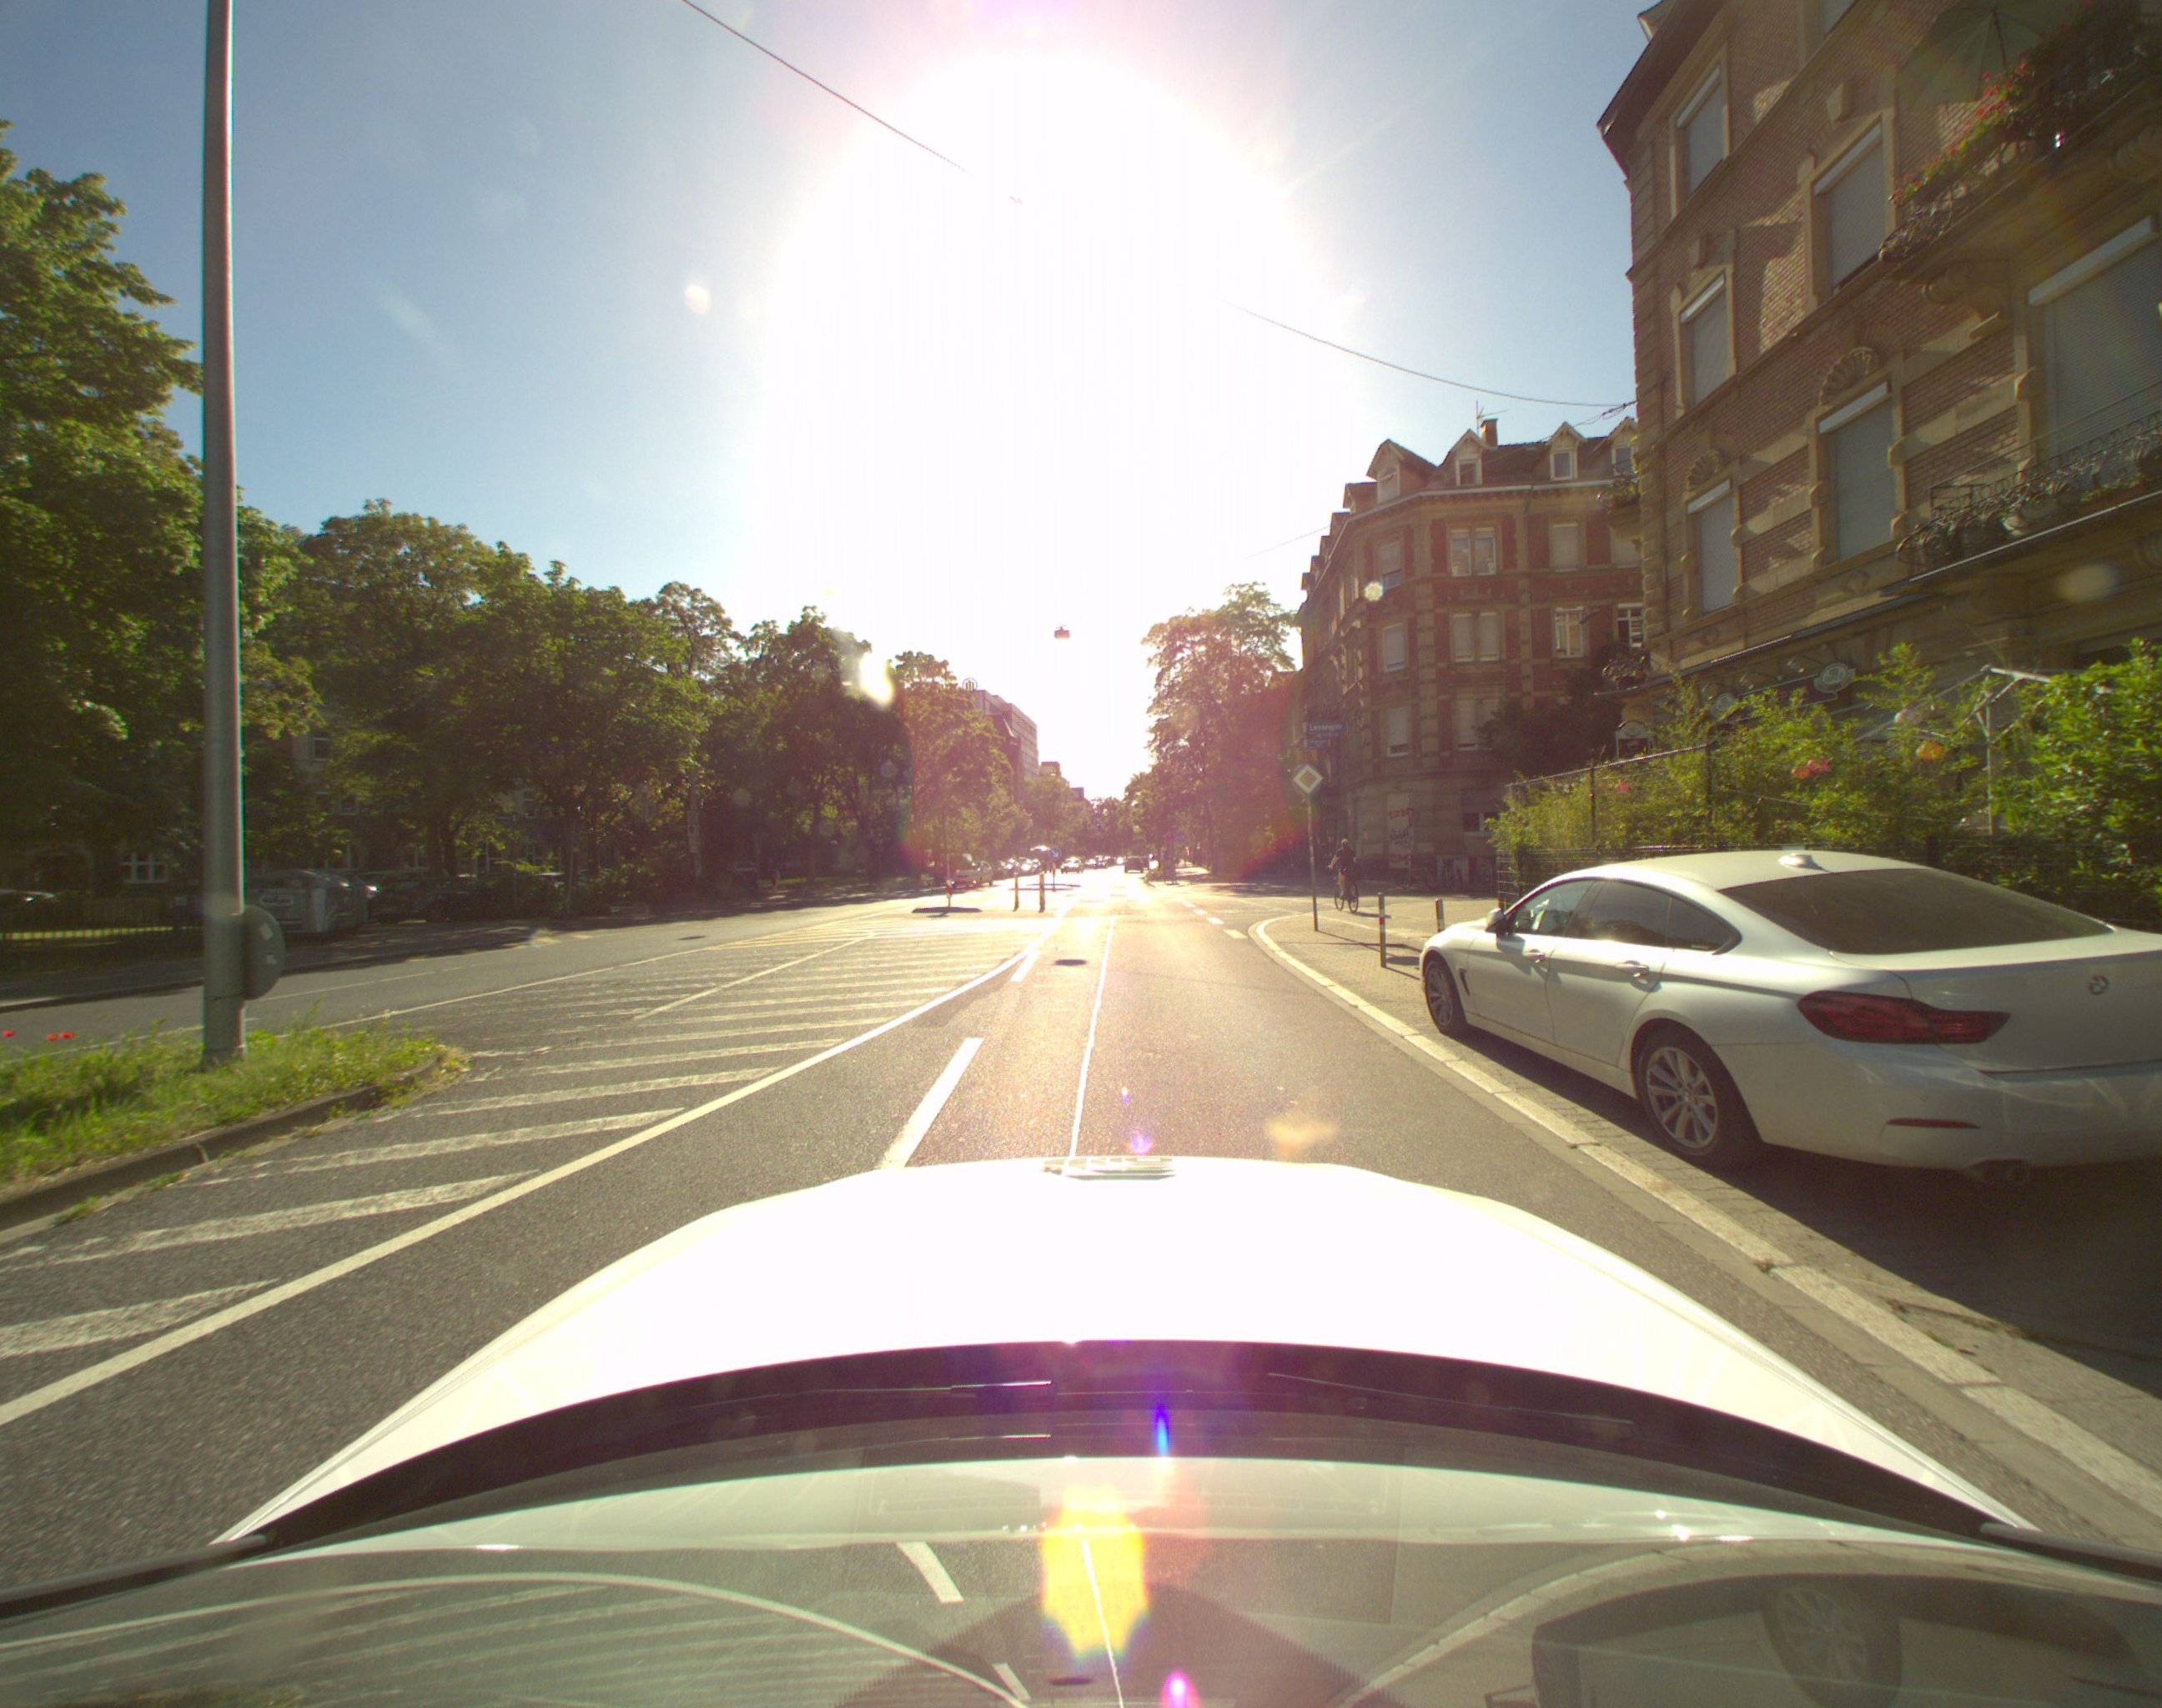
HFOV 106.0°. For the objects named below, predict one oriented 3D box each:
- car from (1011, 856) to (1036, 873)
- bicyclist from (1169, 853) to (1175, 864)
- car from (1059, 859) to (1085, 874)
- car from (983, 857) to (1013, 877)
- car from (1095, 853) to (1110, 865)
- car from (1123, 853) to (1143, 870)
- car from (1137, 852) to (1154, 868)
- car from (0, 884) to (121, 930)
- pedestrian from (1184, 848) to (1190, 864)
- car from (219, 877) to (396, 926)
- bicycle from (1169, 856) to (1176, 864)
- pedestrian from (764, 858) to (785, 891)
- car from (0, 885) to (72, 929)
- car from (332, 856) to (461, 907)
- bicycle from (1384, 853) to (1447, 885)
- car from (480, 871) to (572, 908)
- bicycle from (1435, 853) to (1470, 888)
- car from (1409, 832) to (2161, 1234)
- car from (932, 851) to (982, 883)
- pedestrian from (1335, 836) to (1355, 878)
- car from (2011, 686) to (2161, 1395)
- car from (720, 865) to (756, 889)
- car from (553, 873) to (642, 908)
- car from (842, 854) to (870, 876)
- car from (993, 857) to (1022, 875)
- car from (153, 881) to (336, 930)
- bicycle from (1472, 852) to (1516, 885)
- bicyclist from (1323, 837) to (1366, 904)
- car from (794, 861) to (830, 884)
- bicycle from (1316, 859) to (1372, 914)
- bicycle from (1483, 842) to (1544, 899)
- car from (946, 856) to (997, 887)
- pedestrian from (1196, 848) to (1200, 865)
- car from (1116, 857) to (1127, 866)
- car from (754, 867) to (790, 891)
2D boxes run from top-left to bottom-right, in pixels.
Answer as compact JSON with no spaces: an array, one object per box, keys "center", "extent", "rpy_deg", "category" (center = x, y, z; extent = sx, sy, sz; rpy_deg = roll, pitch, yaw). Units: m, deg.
[{"center":[-5.248,0.950,74.743],"extent":[1.514,1.432,3.345],"rpy_deg":[-2,0,9],"category":"car"},{"center":[11.175,0.526,99.873],"extent":[0.677,1.327,0.636],"rpy_deg":[-1,-3,2],"category":"bicyclist"},{"center":[-0.827,1.229,79.271],"extent":[1.774,1.460,4.426],"rpy_deg":[-1,-1,9],"category":"car"},{"center":[-6.591,1.075,64.933],"extent":[1.514,1.433,3.344],"rpy_deg":[-1,-3,9],"category":"car"},{"center":[2.993,0.706,112.647],"extent":[1.629,1.519,4.040],"rpy_deg":[-2,0,9],"category":"car"},{"center":[4.953,0.687,78.016],"extent":[1.887,1.519,4.003],"rpy_deg":[1,1,2],"category":"car"},{"center":[7.637,0.694,96.379],"extent":[1.810,1.740,4.007],"rpy_deg":[-1,0,6],"category":"car"},{"center":[-35.561,1.773,27.310],"extent":[1.838,1.491,4.001],"rpy_deg":[-1,-3,2],"category":"car"},{"center":[13.364,0.204,102.969],"extent":[0.612,2.013,0.681],"rpy_deg":[-2,0,2],"category":"pedestrian"},{"center":[-25.249,1.542,26.818],"extent":[1.838,1.491,4.001],"rpy_deg":[-1,-3,2],"category":"car"},{"center":[11.180,0.711,99.731],"extent":[0.672,0.938,2.282],"rpy_deg":[-2,-2,2],"category":"bicycle"},{"center":[-15.557,1.022,41.392],"extent":[0.662,1.626,0.720],"rpy_deg":[-2,0,35],"category":"pedestrian"},{"center":[-37.566,1.801,27.514],"extent":[1.838,1.491,4.001],"rpy_deg":[-1,-3,2],"category":"car"},{"center":[-33.387,1.408,39.965],"extent":[1.838,2.324,4.986],"rpy_deg":[0,-3,2],"category":"car"},{"center":[11.967,0.546,29.179],"extent":[0.699,1.095,1.947],"rpy_deg":[-1,0,-42],"category":"bicycle"},{"center":[-28.222,1.762,41.603],"extent":[1.839,1.653,4.002],"rpy_deg":[-1,1,2],"category":"car"},{"center":[13.306,0.583,29.200],"extent":[0.575,1.094,1.976],"rpy_deg":[0,3,8],"category":"bicycle"},{"center":[3.717,0.651,5.112],"extent":[1.703,1.425,4.208],"rpy_deg":[-3,0,2],"category":"car"},{"center":[-8.114,0.838,53.810],"extent":[2.189,1.929,4.867],"rpy_deg":[-2,0,4],"category":"car"},{"center":[11.601,0.138,35.808],"extent":[0.652,1.816,0.752],"rpy_deg":[-1,-3,6],"category":"pedestrian"},{"center":[3.570,0.474,0.210],"extent":[1.811,1.844,4.368],"rpy_deg":[-2,0,4],"category":"car"},{"center":[-26.217,1.746,62.207],"extent":[1.988,1.662,3.960],"rpy_deg":[-2,0,-31],"category":"car"},{"center":[-23.603,1.801,39.970],"extent":[1.838,1.654,4.001],"rpy_deg":[-1,-3,2],"category":"car"},{"center":[-18.589,0.880,67.122],"extent":[1.981,1.662,3.975],"rpy_deg":[-2,0,-19],"category":"car"},{"center":[-6.295,0.998,69.926],"extent":[1.514,1.432,3.564],"rpy_deg":[-2,0,10],"category":"car"},{"center":[-27.644,1.692,27.134],"extent":[1.838,1.491,4.001],"rpy_deg":[-1,-3,2],"category":"car"},{"center":[14.888,0.493,29.412],"extent":[0.723,1.131,2.036],"rpy_deg":[-2,0,6],"category":"bicycle"},{"center":[6.375,0.383,19.754],"extent":[0.738,1.580,1.101],"rpy_deg":[-1,1,3],"category":"bicyclist"},{"center":[-21.143,1.411,63.977],"extent":[1.987,1.662,3.963],"rpy_deg":[-2,0,-28],"category":"car"},{"center":[6.367,0.753,19.832],"extent":[0.738,1.219,1.961],"rpy_deg":[-4,0,3],"category":"bicycle"},{"center":[11.399,0.417,21.519],"extent":[0.576,1.397,2.069],"rpy_deg":[-2,0,3],"category":"bicycle"},{"center":[-6.129,0.958,46.081],"extent":[1.748,1.519,3.869],"rpy_deg":[-3,1,9],"category":"car"},{"center":[14.258,0.300,99.341],"extent":[0.474,2.014,0.492],"rpy_deg":[-1,-3,2],"category":"pedestrian"},{"center":[7.501,1.441,149.695],"extent":[1.927,1.519,4.032],"rpy_deg":[-1,-3,3],"category":"car"},{"center":[-23.928,1.902,62.914],"extent":[1.987,1.662,3.962],"rpy_deg":[-2,0,-30],"category":"car"}]
